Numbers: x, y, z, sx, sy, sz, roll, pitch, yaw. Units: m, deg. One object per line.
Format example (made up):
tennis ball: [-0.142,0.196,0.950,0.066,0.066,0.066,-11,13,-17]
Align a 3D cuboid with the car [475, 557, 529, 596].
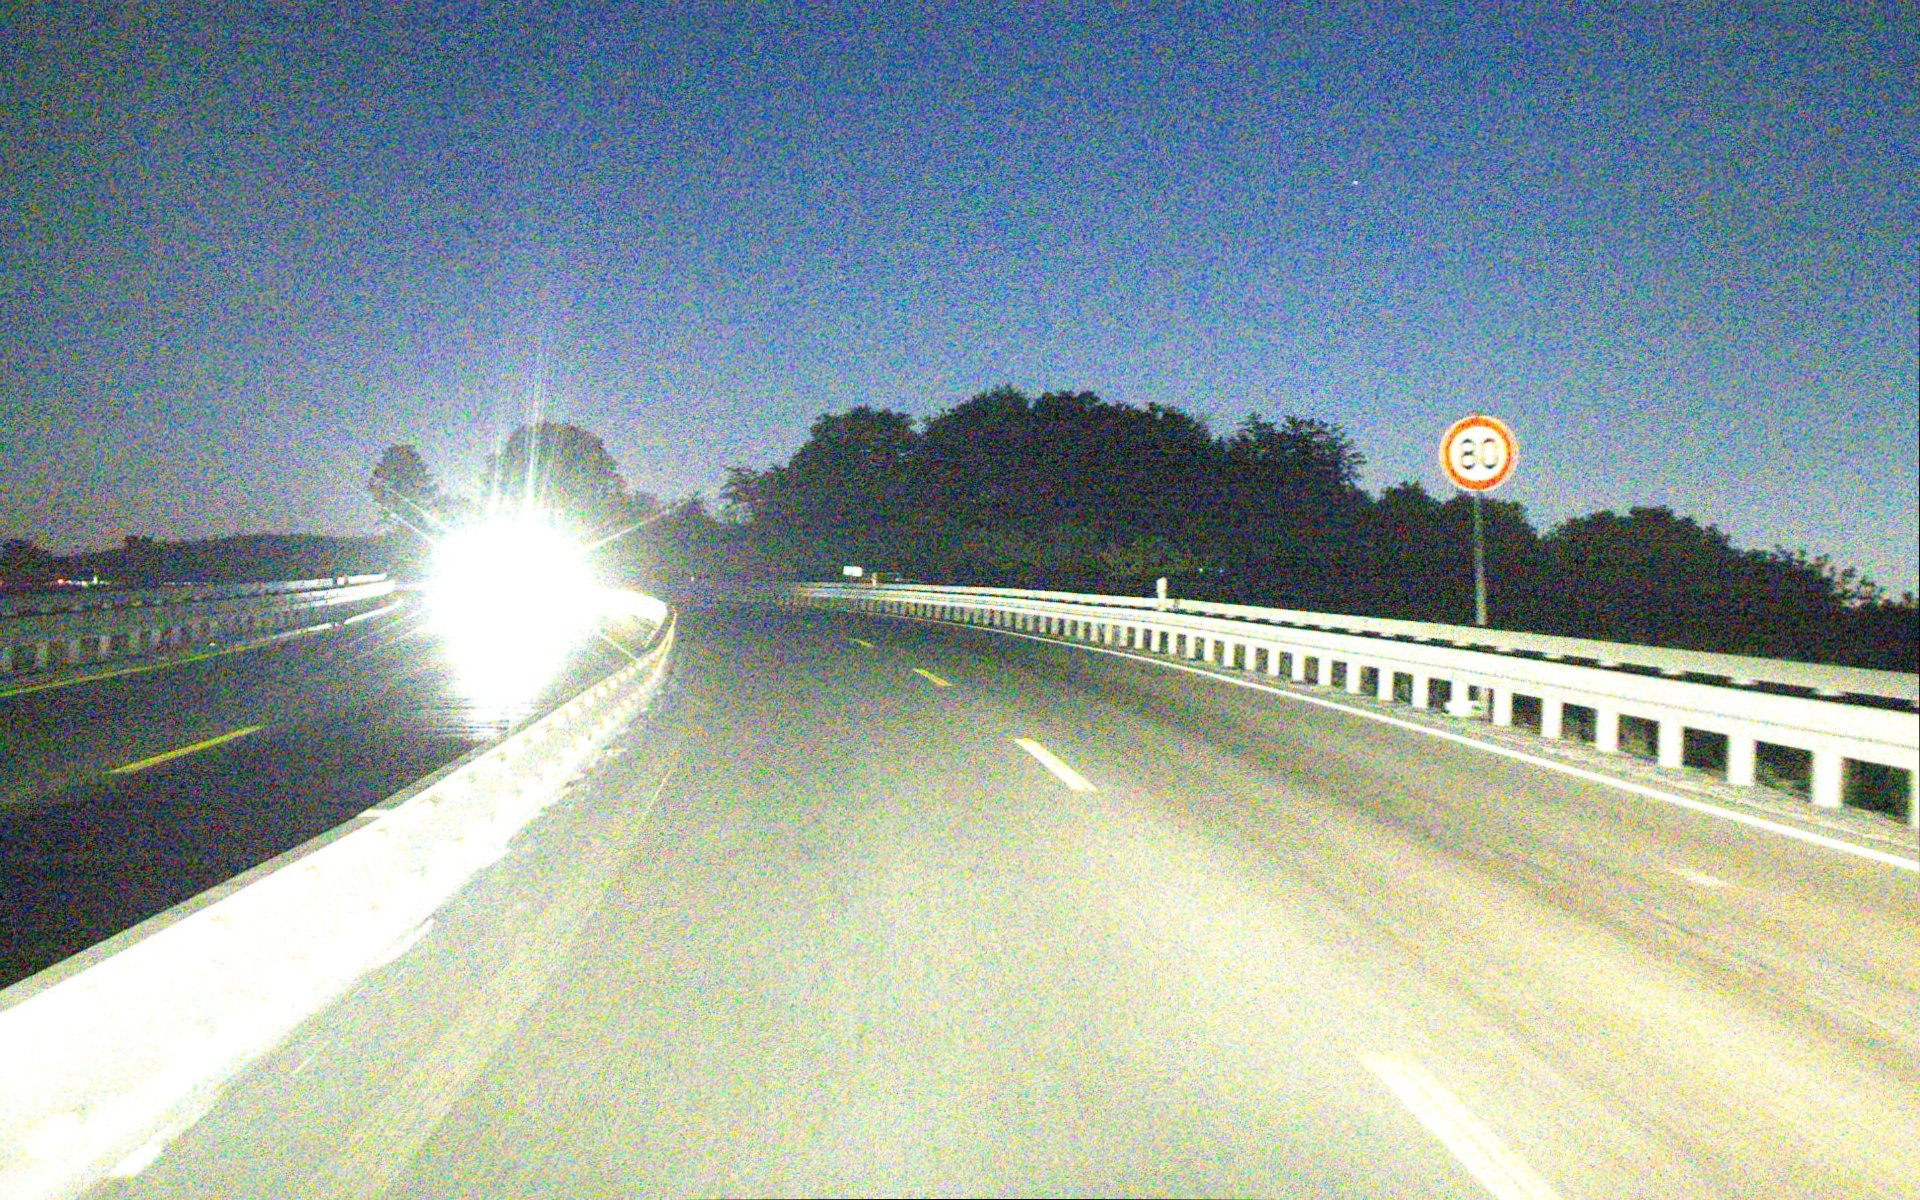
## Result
car: [-18.544,-0.943,139.048,1.818,1.511,4.524,0,0,-12]
